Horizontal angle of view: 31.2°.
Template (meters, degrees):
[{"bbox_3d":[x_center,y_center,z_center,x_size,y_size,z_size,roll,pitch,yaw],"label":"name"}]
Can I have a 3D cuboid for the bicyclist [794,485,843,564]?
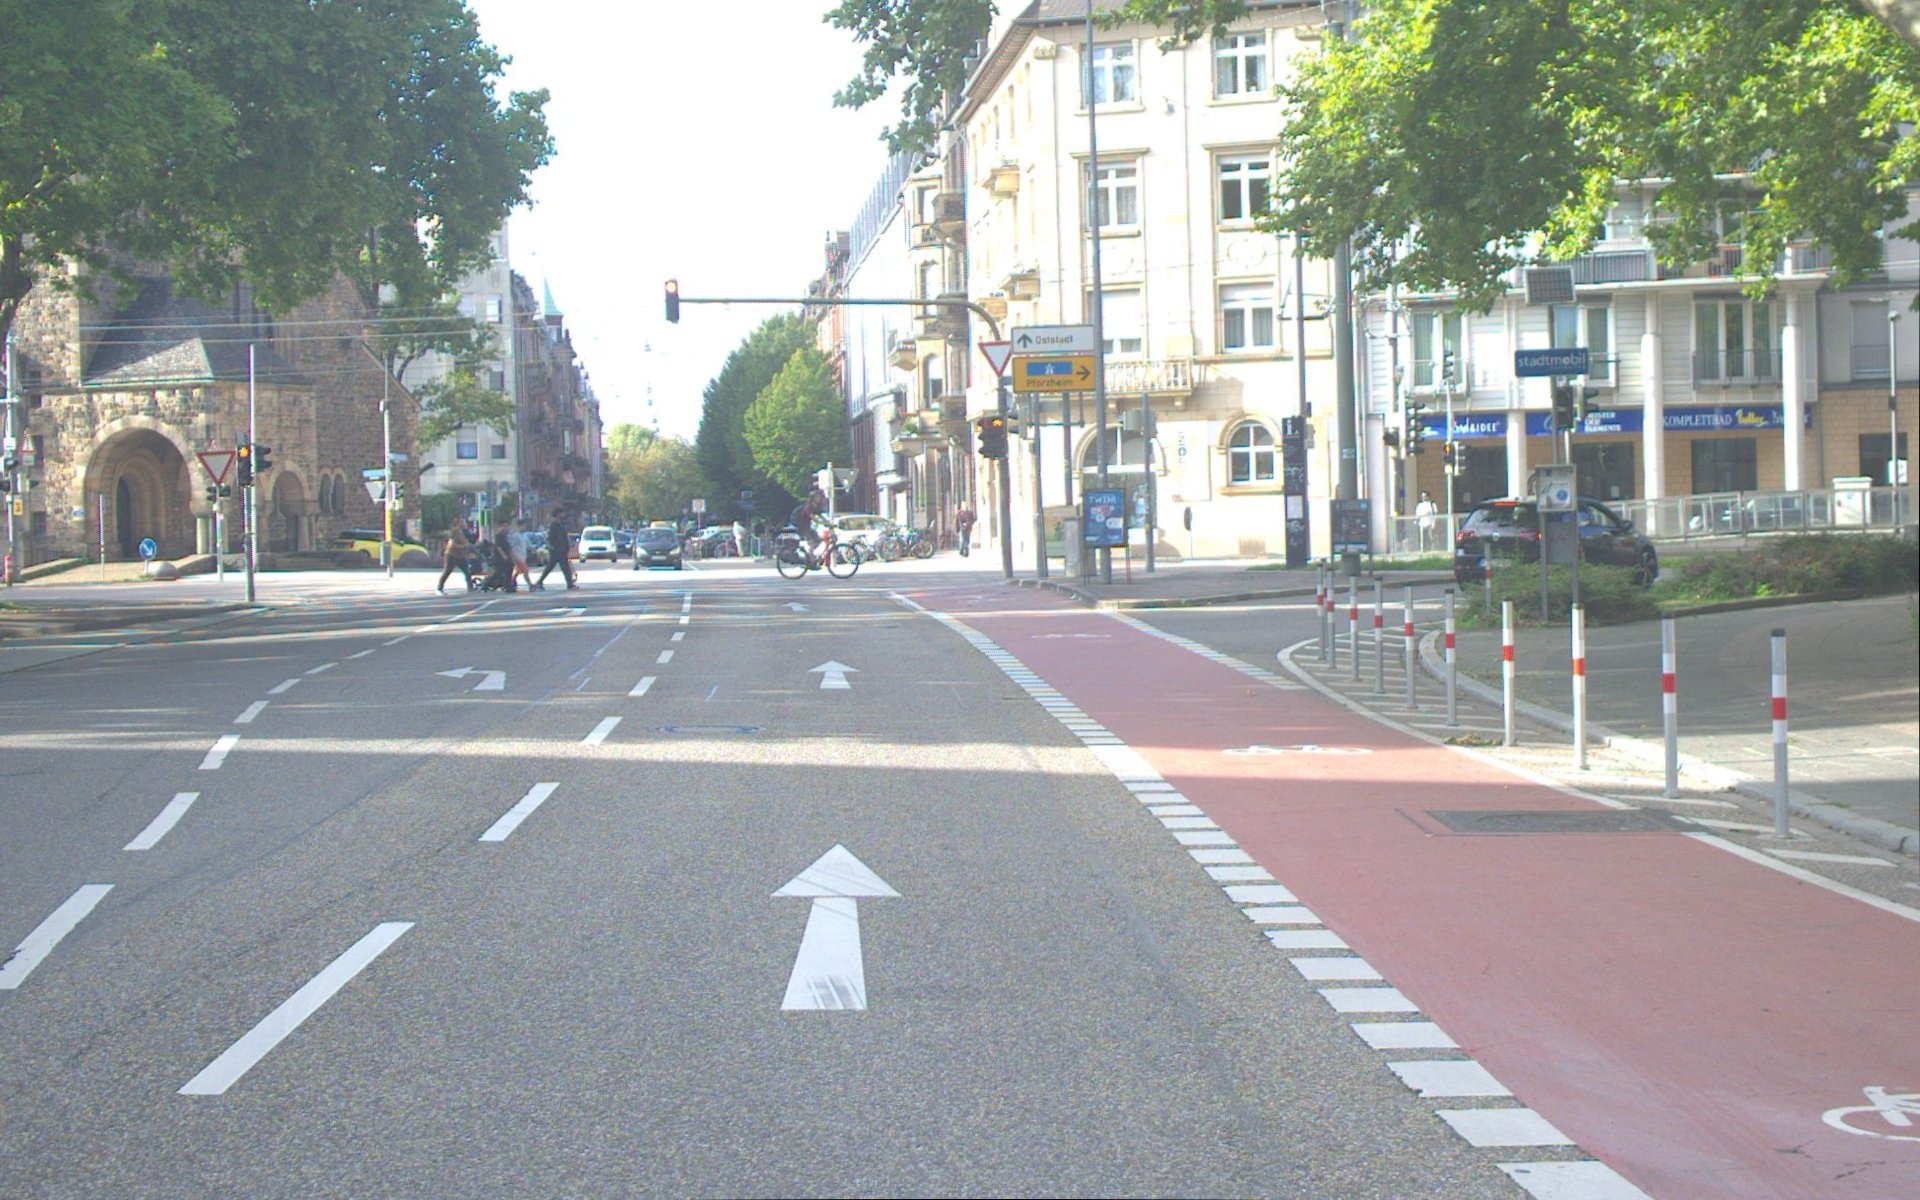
[{"bbox_3d":[-2.880,-1.538,70.037,0.779,1.574,0.625,-1,1,22],"label":"bicyclist"}]

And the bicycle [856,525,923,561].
[{"bbox_3d":[-2.247,-1.825,109.297,2.022,1.078,0.620,-2,2,-13],"label":"bicycle"}]

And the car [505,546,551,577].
[{"bbox_3d":[-18.124,-1.622,144.270,1.550,1.225,3.588,0,1,-1],"label":"car"}]

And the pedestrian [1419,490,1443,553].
[{"bbox_3d":[12.851,-2.133,93.778,0.496,1.708,0.526,1,1,20],"label":"pedestrian"}]

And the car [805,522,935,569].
[{"bbox_3d":[-2.941,-1.788,111.627,3.986,1.415,2.001,-2,1,-7],"label":"car"}]

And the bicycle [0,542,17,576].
[{"bbox_3d":[-27.858,-1.187,99.541,0.636,0.977,1.925,-1,1,-2],"label":"bicycle"}]

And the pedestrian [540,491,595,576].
[{"bbox_3d":[-7.748,-1.314,67.897,0.781,1.656,0.778,-1,2,19],"label":"pedestrian"}]

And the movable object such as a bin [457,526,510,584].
[{"bbox_3d":[-9.398,-0.886,67.812,0.838,1.120,0.575,-1,1,19],"label":"movable object such as a bin"}]

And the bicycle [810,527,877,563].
[{"bbox_3d":[-3.710,-1.761,109.275,2.022,1.078,0.620,-2,2,-13],"label":"bicycle"}]

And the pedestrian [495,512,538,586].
[{"bbox_3d":[-8.660,-1.005,67.163,0.655,1.427,0.498,-1,2,19],"label":"pedestrian"}]

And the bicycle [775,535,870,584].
[{"bbox_3d":[-2.805,-0.822,70.048,1.832,0.952,0.572,-1,1,22],"label":"bicycle"}]

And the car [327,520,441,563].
[{"bbox_3d":[-22.540,-2.306,134.599,3.989,1.590,1.868,-3,2,-43],"label":"car"}]

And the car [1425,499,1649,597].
[{"bbox_3d":[8.662,-0.801,51.425,1.755,1.408,3.992,1,2,35],"label":"car"}]

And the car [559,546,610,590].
[{"bbox_3d":[-17.785,-1.526,162.843,1.993,2.007,4.000,-1,1,-1],"label":"car"}]

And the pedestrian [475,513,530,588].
[{"bbox_3d":[-8.860,-0.952,66.555,0.781,1.427,0.730,-1,2,19],"label":"pedestrian"}]

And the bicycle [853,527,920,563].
[{"bbox_3d":[-2.361,-1.764,109.965,2.022,1.078,0.631,-2,2,-13],"label":"bicycle"}]

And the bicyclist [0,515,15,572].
[{"bbox_3d":[-27.879,-1.640,99.721,0.723,1.656,0.719,-1,1,-2],"label":"bicyclist"}]
